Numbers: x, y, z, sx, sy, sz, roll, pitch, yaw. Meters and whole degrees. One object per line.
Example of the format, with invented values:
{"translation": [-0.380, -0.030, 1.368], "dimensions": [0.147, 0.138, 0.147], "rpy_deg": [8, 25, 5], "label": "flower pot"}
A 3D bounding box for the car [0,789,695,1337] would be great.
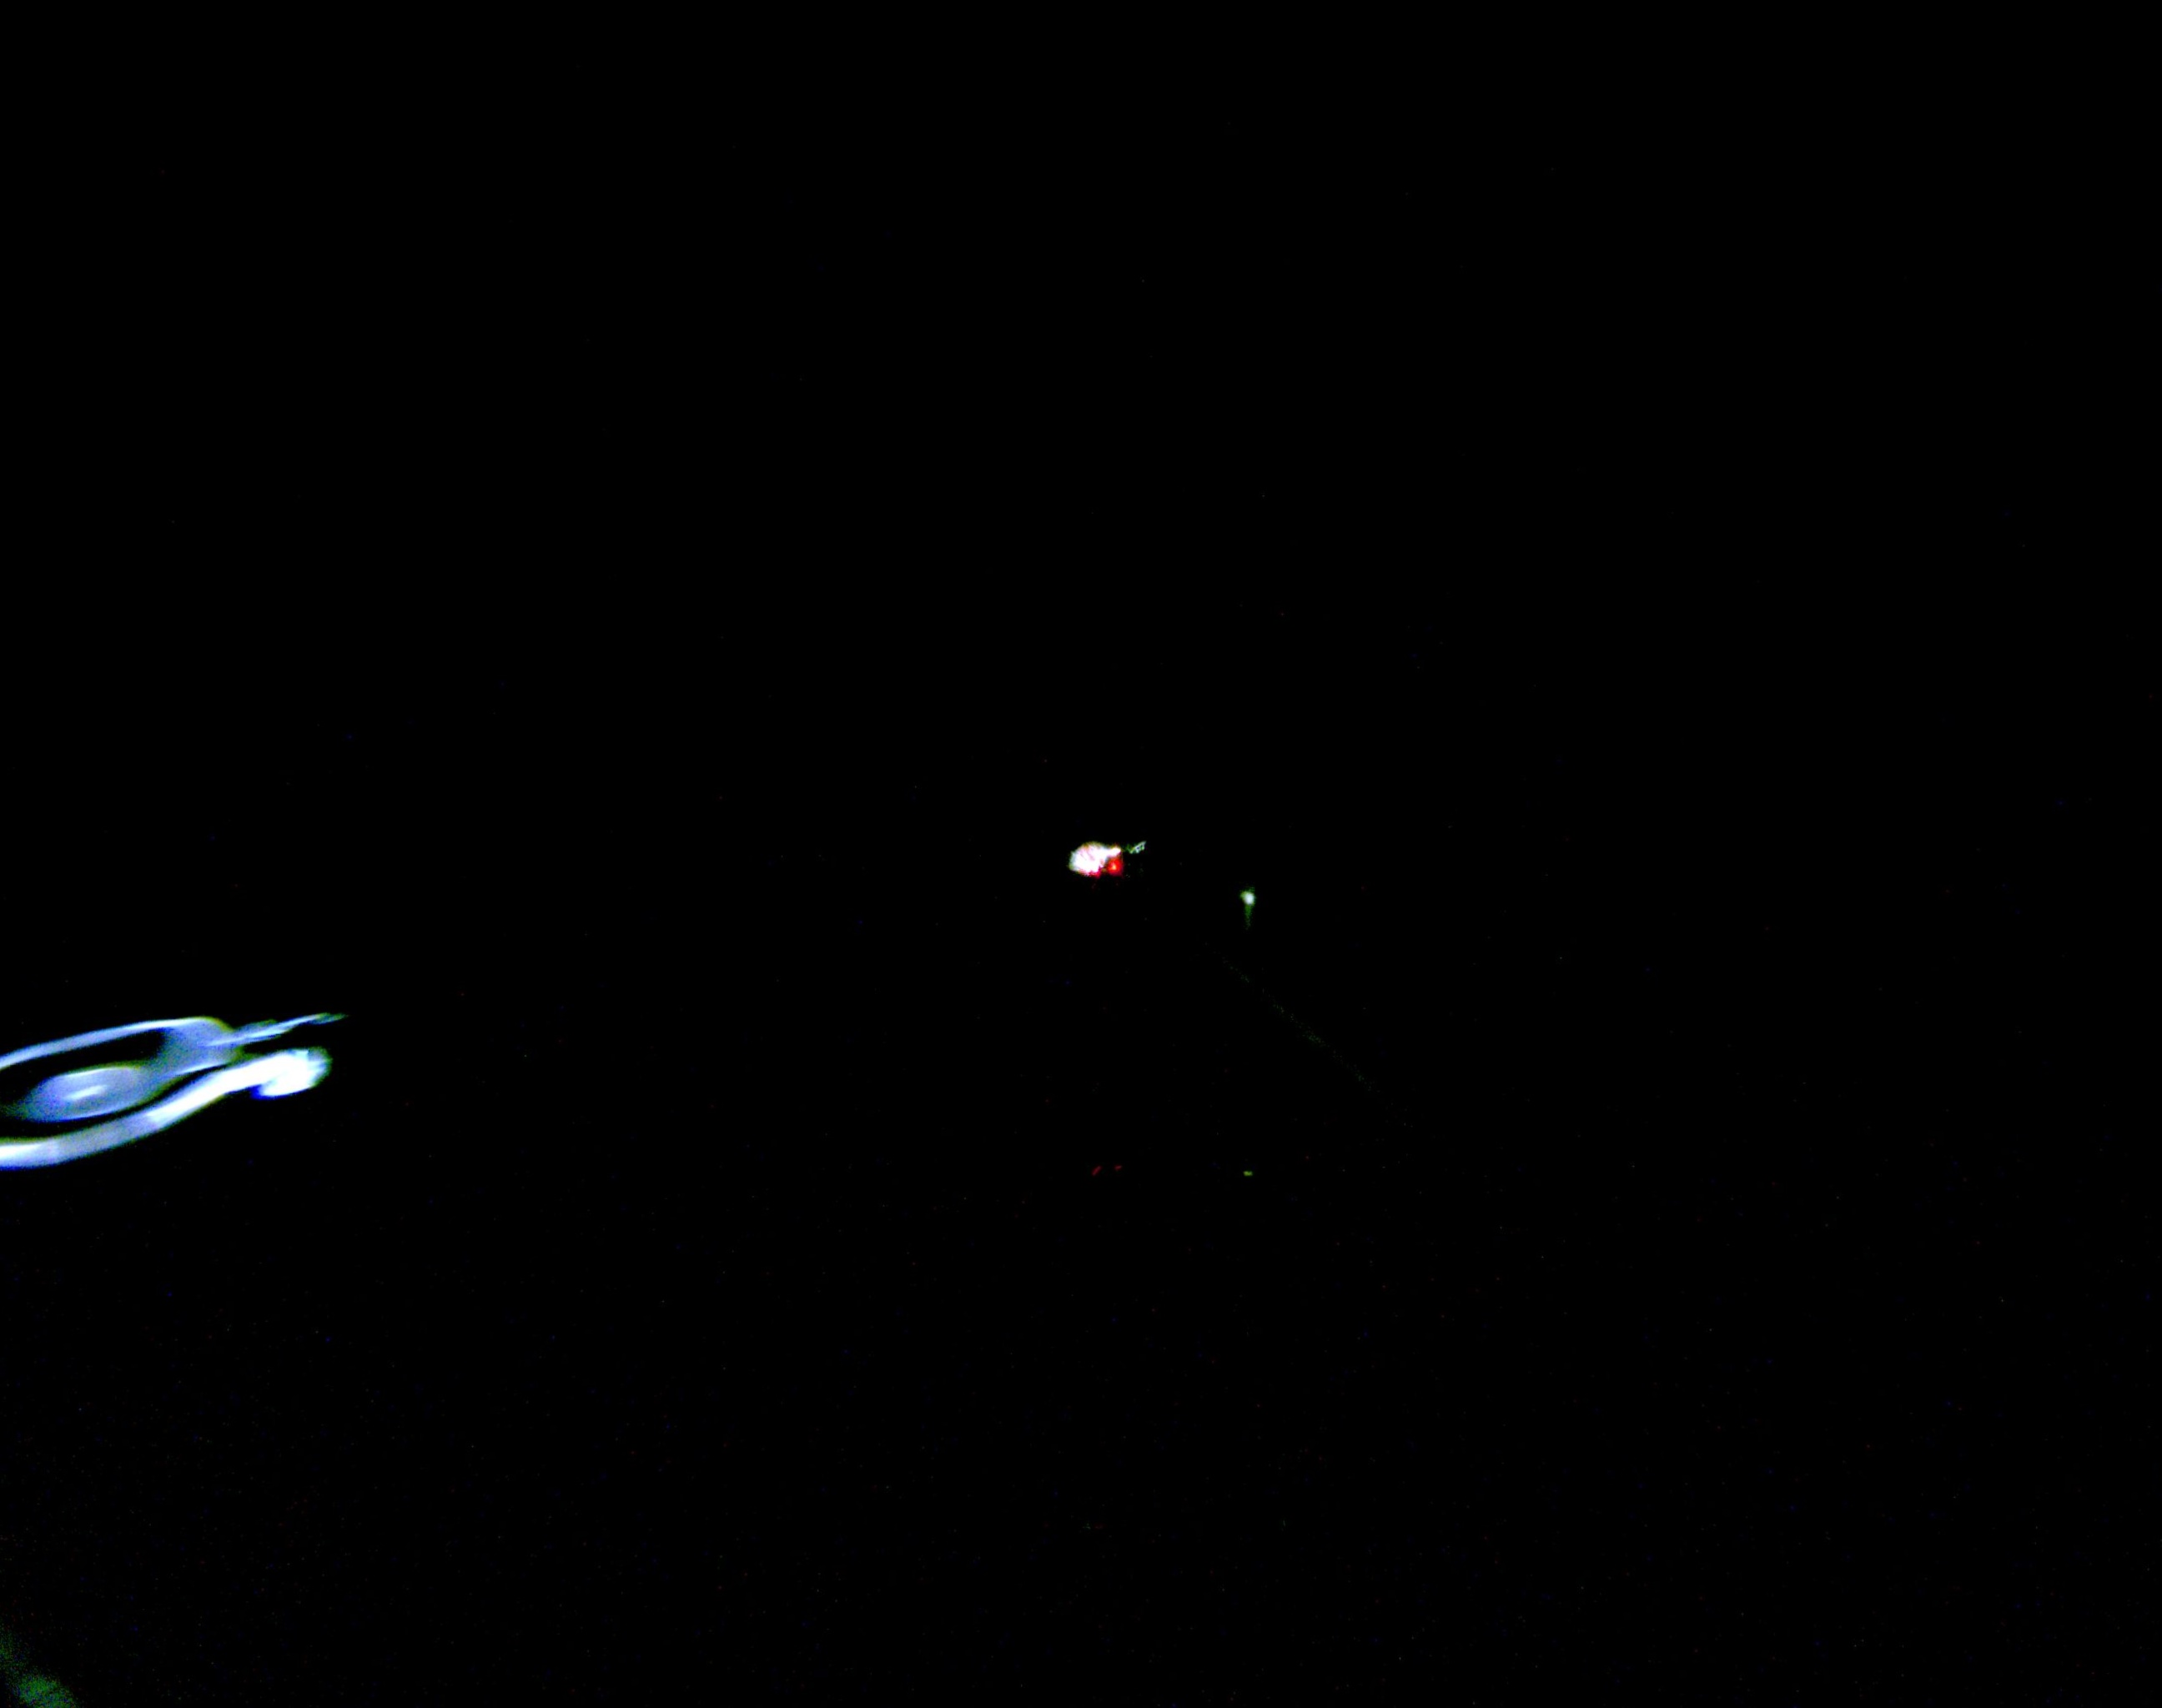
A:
{"translation": [-4.153, 0.684, 4.586], "dimensions": [1.939, 1.728, 4.001], "rpy_deg": [-1, 0, 2], "label": "car"}

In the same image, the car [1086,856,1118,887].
{"translation": [1.268, 1.018, 49.522], "dimensions": [1.836, 1.740, 4.001], "rpy_deg": [0, 1, 1], "label": "car"}
